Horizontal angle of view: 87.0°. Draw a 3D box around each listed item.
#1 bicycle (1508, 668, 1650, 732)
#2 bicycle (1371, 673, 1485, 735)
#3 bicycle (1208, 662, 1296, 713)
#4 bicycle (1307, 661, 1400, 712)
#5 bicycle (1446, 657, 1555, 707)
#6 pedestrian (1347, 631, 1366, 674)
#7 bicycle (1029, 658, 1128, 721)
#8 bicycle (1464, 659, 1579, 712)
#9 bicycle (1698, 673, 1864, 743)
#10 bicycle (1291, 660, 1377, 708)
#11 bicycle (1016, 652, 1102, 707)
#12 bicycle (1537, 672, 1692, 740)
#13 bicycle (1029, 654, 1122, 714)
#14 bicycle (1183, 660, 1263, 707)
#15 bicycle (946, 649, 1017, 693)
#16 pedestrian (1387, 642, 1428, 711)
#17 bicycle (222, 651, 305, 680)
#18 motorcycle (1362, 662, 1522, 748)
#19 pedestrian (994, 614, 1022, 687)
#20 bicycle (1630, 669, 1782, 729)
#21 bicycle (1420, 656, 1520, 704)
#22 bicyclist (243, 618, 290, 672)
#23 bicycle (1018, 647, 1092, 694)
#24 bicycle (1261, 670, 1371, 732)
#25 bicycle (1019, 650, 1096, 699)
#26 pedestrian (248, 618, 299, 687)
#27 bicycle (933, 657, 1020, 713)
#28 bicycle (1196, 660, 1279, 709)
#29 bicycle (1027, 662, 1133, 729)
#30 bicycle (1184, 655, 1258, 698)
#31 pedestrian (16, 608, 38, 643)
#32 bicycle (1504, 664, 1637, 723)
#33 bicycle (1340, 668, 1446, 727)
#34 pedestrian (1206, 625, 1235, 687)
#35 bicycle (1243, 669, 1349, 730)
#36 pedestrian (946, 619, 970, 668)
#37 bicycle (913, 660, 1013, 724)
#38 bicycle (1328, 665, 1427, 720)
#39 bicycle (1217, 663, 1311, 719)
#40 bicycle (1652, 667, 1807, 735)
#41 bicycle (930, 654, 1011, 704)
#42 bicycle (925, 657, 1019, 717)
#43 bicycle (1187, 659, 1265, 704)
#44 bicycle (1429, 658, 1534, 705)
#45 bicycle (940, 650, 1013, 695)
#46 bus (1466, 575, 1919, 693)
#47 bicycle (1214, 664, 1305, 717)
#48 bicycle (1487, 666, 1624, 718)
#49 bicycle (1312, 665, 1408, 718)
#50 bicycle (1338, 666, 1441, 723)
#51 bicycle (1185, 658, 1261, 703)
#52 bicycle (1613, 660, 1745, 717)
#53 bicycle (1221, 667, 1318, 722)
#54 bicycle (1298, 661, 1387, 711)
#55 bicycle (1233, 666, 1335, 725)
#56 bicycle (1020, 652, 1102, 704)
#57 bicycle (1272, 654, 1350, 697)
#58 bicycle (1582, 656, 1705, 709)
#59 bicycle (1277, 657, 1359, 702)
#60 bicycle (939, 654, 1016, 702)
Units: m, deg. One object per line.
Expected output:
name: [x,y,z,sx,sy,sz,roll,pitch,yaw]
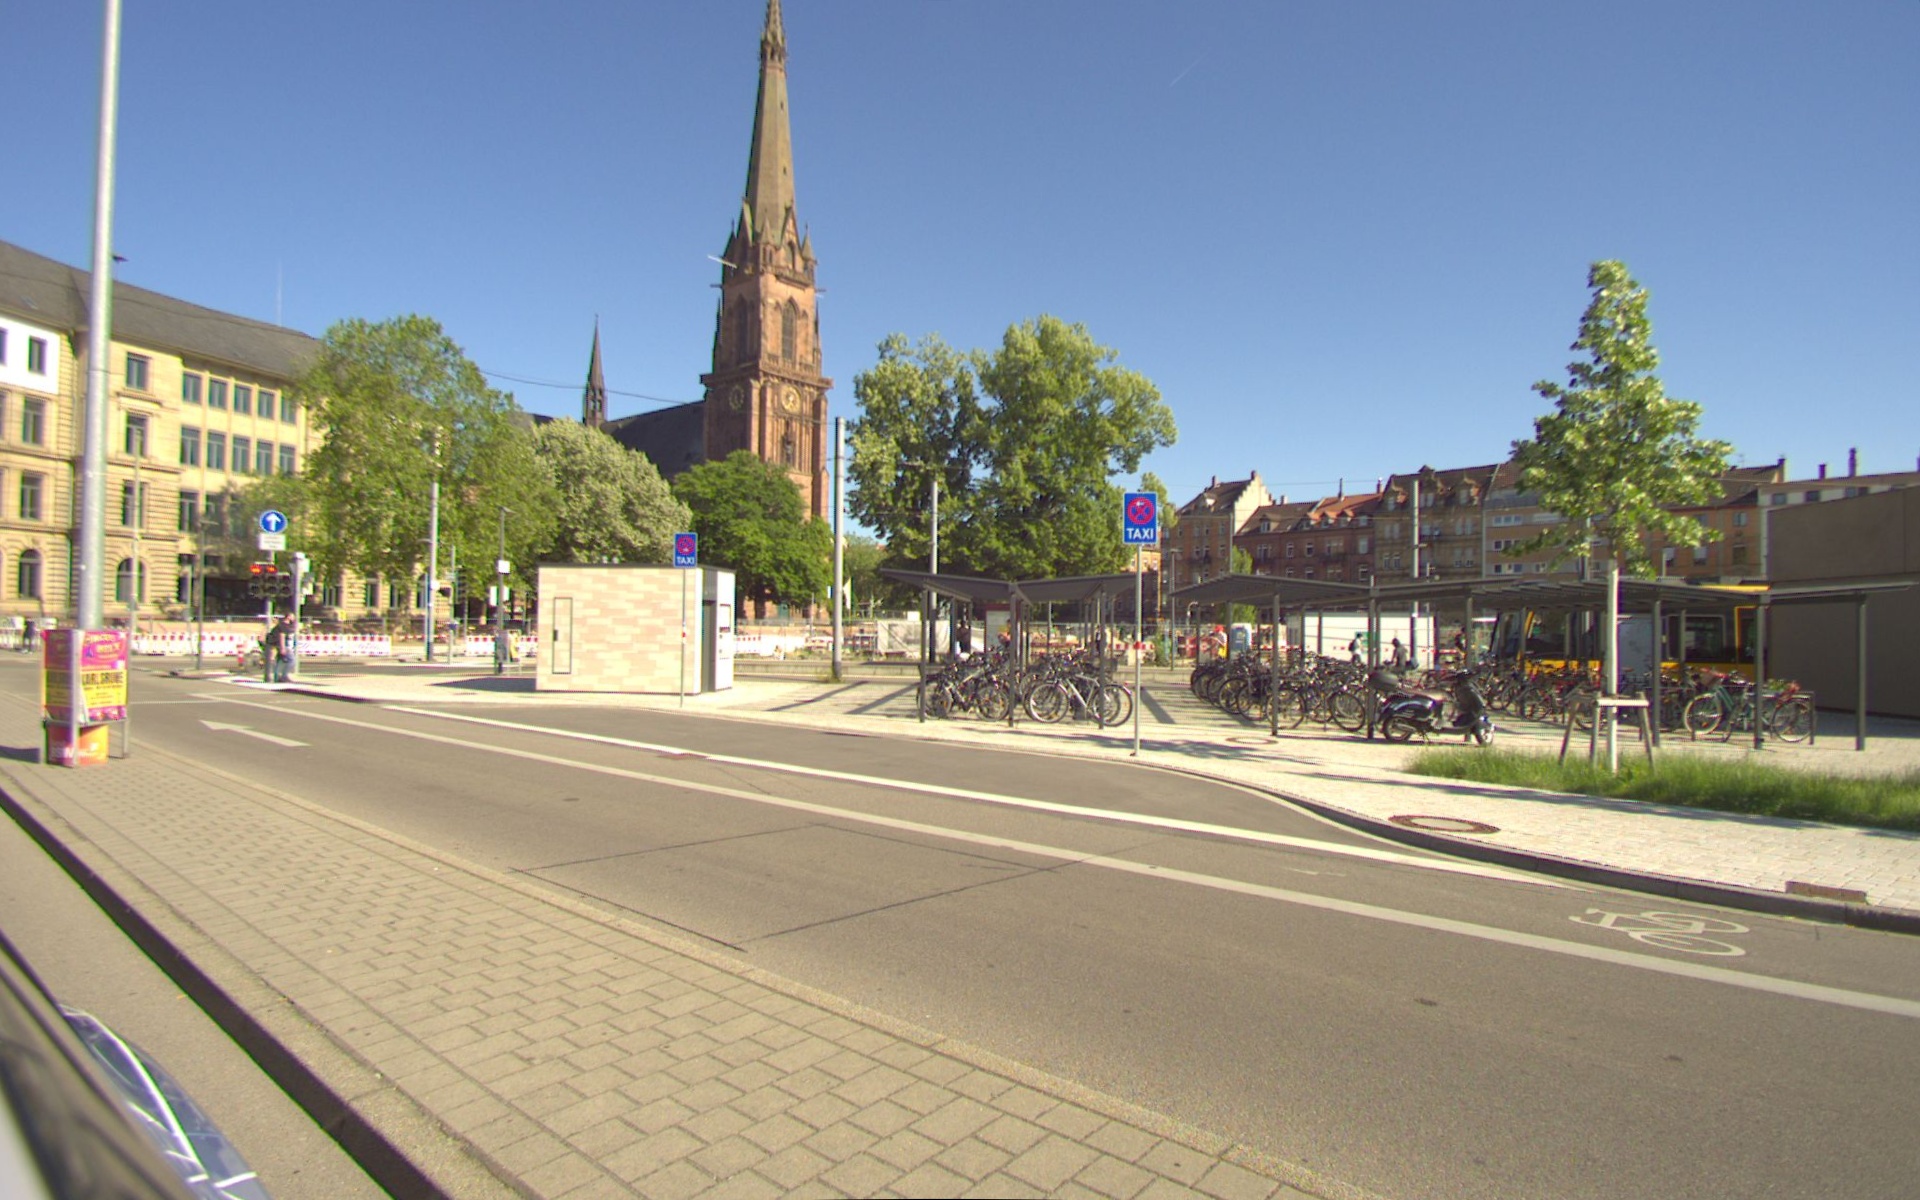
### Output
bicycle: [10.776,1.738,17.668,2.048,1.045,0.533,-1,0,8]
bicycle: [7.764,1.721,16.822,1.661,0.980,0.406,-1,0,3]
bicycle: [5.921,1.782,20.565,1.661,0.980,0.406,1,-5,3]
bicycle: [7.854,1.728,20.230,1.661,0.980,0.406,-1,0,3]
bicycle: [11.862,1.799,22.257,2.048,1.045,0.533,-1,2,8]
pedestrian: [17.545,2.314,44.786,0.637,1.885,0.529,0,-2,5]
bicycle: [2.136,1.614,18.338,1.753,1.083,0.406,1,0,6]
bicycle: [11.772,1.793,21.266,2.048,1.045,0.533,-1,2,8]
bicycle: [13.030,1.709,16.101,2.048,1.045,0.533,-1,0,8]
bicycle: [7.985,1.787,21.624,1.661,0.980,0.406,-1,0,3]
bicycle: [2.049,1.640,20.974,1.755,1.083,0.406,1,0,6]
bicycle: [10.569,1.708,16.390,2.048,1.045,0.533,-1,0,8]
bicycle: [2.231,1.618,19.583,1.755,1.083,0.406,1,0,6]
bicycle: [5.782,1.835,22.297,1.661,0.980,0.406,1,-5,3]
bicycle: [0.513,1.699,24.188,1.663,1.006,0.406,0,0,8]
pedestrian: [12.953,2.198,29.296,0.757,1.931,0.805,1,-2,-11]
bicycle: [-21.078,1.970,30.681,0.735,0.788,2.040,0,-2,18]
motorcycle: [7.189,1.568,15.161,2.059,1.228,0.569,-1,-2,3]
pedestrian: [1.273,1.314,26.583,0.693,1.873,0.620,1,-1,4]
bicycle: [13.475,1.778,18.331,2.117,1.005,0.690,-1,0,7]
bicycle: [12.296,1.917,24.430,2.048,1.045,0.533,1,3,8]
bicyclist: [-21.060,1.357,30.732,0.735,1.583,0.880,0,-2,18]
bicycle: [2.310,1.721,24.679,1.755,1.083,0.406,1,0,6]
bicycle: [5.930,1.682,16.891,1.661,0.980,0.406,-1,0,3]
bicycle: [2.268,1.729,23.499,1.755,1.083,0.406,1,0,6]
pedestrian: [-17.953,1.362,26.465,0.987,1.756,0.631,2,-2,-42]
bicycle: [0.324,1.661,19.946,1.663,1.006,0.406,2,0,8]
bicycle: [5.921,1.803,21.641,1.661,0.980,0.406,1,-5,3]
bicycle: [2.018,1.603,17.093,1.753,1.083,0.406,1,-3,6]
bicycle: [6.252,1.834,24.313,1.661,0.980,0.406,1,-5,3]
pedestrian: [-45.466,1.240,49.308,0.540,1.733,0.538,0,-2,3]
bicycle: [11.318,1.731,18.814,2.048,1.045,0.533,-1,0,8]
bicycle: [7.639,1.722,17.893,1.661,0.980,0.406,-1,0,3]
pedestrian: [6.986,1.505,27.209,0.694,1.635,0.619,0,-2,9]
bicycle: [5.790,1.707,17.464,1.661,0.980,0.406,1,0,3]
pedestrian: [-0.079,1.673,39.099,0.610,1.874,0.703,2,-2,-39]
bicycle: [0.063,1.571,17.383,1.663,1.006,0.406,2,0,8]
bicycle: [7.838,1.728,19.014,1.661,0.980,0.406,-1,0,3]
bicycle: [5.810,1.735,19.376,1.661,0.980,0.406,1,0,3]
bicycle: [12.985,1.694,17.117,2.030,1.087,0.604,-1,0,7]
bicycle: [0.225,1.673,21.405,1.663,1.006,0.406,0,0,8]
bicycle: [0.227,1.594,18.602,1.663,1.006,0.406,2,0,8]
bicycle: [6.049,1.857,23.052,1.661,0.980,0.406,1,-5,3]
bicycle: [12.027,1.877,23.375,2.048,1.045,0.533,-1,-4,8]
bicycle: [0.389,1.699,23.663,1.663,1.006,0.406,0,0,8]
bus: [21.982,0.931,28.644,13.462,3.095,2.859,0,-2,6]
bicycle: [5.898,1.778,19.959,1.661,0.980,0.406,1,0,3]
bicycle: [11.610,1.796,19.791,2.208,0.951,0.685,-1,0,7]
bicycle: [7.712,1.760,19.530,1.661,0.980,0.406,-1,0,3]
bicycle: [7.819,1.720,18.461,1.661,0.980,0.406,-1,0,3]
bicycle: [6.133,1.879,23.625,1.661,0.980,0.406,1,-5,3]
bicycle: [13.849,1.697,19.526,2.048,1.045,0.533,-1,0,8]
bicycle: [5.725,1.747,18.769,1.661,0.980,0.406,-1,0,3]
bicycle: [7.857,1.758,20.827,1.661,0.980,0.406,-1,0,3]
bicycle: [5.811,1.707,18.189,1.661,0.980,0.406,1,0,3]
bicycle: [2.189,1.692,22.029,1.755,1.083,0.406,1,0,6]
bicycle: [8.287,1.782,23.916,1.661,0.980,0.406,-1,0,3]
bicycle: [14.074,1.694,20.878,2.048,1.045,0.533,-1,0,8]
bicycle: [8.069,1.786,22.839,1.661,0.980,0.406,-1,0,3]
bicycle: [0.381,1.702,22.285,1.663,1.006,0.406,0,0,8]
